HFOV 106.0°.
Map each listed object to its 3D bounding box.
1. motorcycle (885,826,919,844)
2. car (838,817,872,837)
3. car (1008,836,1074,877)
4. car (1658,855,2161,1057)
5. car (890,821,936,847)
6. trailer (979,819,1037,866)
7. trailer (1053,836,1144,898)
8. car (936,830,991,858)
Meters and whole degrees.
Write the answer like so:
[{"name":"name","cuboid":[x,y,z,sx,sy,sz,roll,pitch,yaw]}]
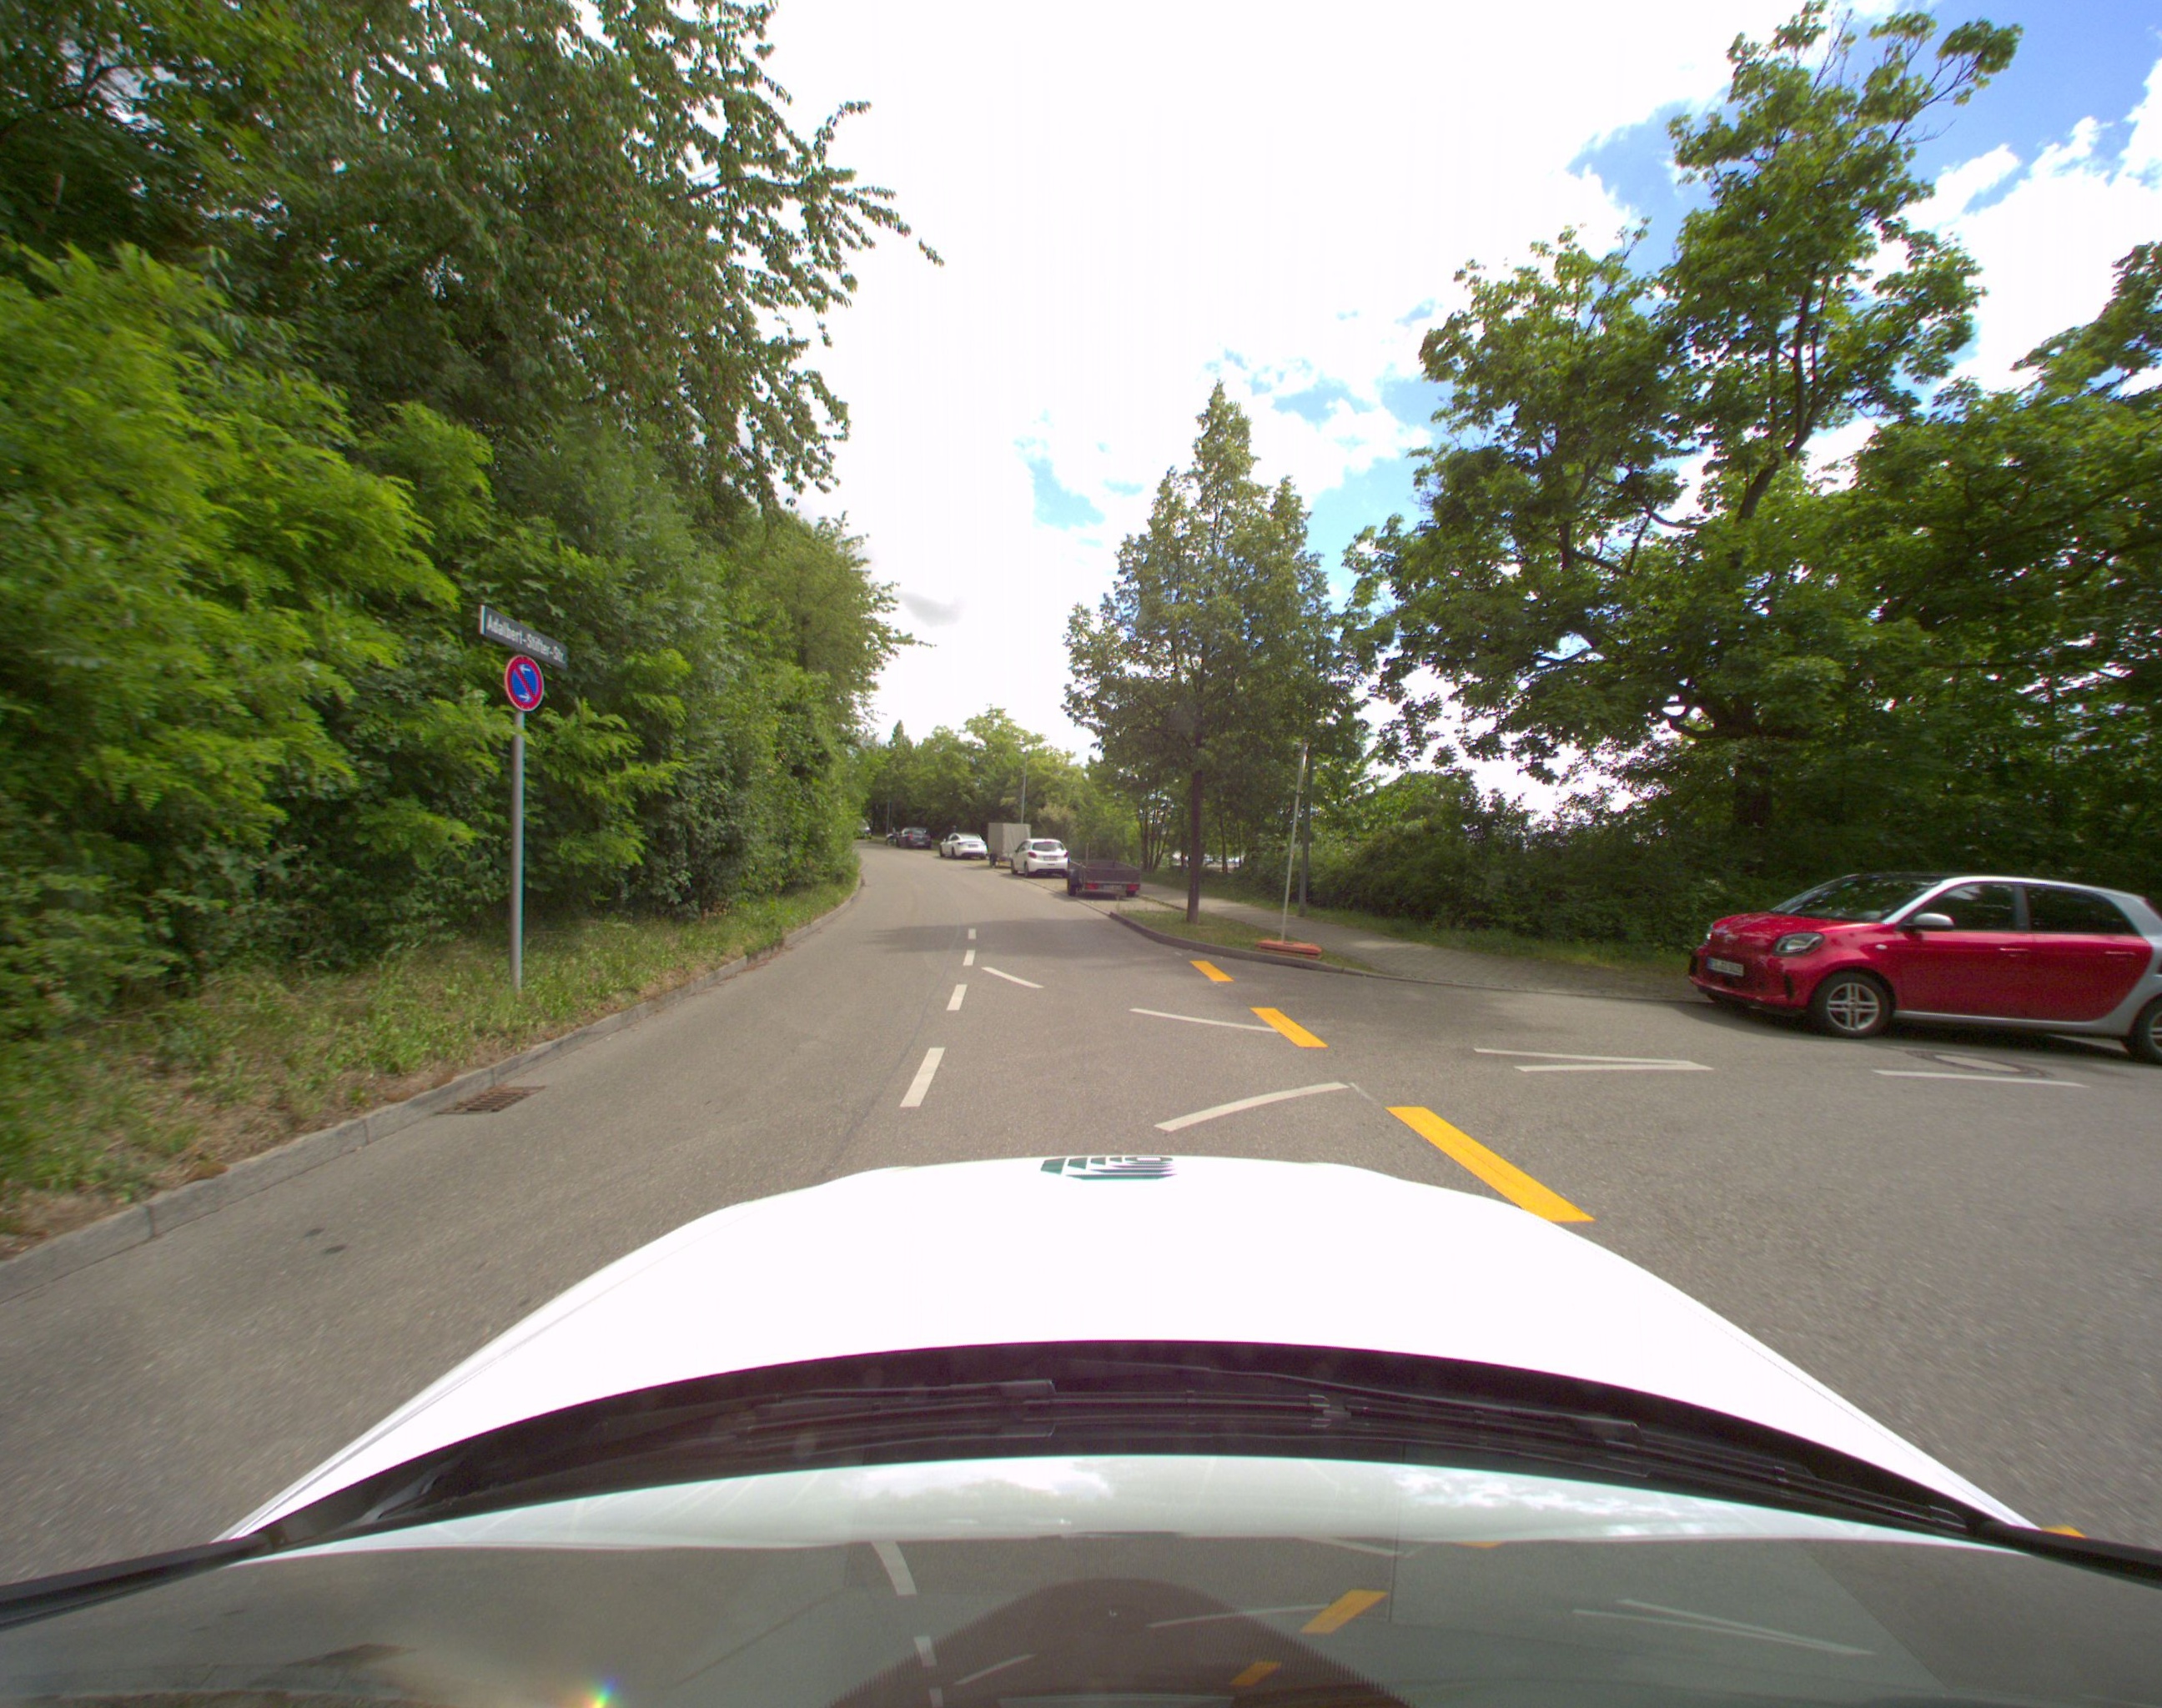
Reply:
[{"name":"motorcycle","cuboid":[-13.180,-1.402,59.934,2.153,1.265,1.073,2,4,11]},{"name":"car","cuboid":[-19.449,-2.324,69.947,1.853,1.516,3.963,0,3,-30]},{"name":"car","cuboid":[-1.639,0.064,32.087,1.772,1.411,3.980,1,3,-15]},{"name":"car","cuboid":[8.026,0.871,7.866,3.516,1.480,1.786,4,1,8]},{"name":"car","cuboid":[-11.738,-1.410,56.716,1.897,1.686,4.312,-2,3,-29]},{"name":"trailer","cuboid":[-3.492,-0.586,38.306,1.746,2.110,3.973,0,2,-21]},{"name":"trailer","cuboid":[0.402,0.307,23.023,1.785,1.525,3.986,1,2,-11]},{"name":"car","cuboid":[-6.695,-0.580,45.875,1.895,1.376,4.317,1,2,-25]}]
